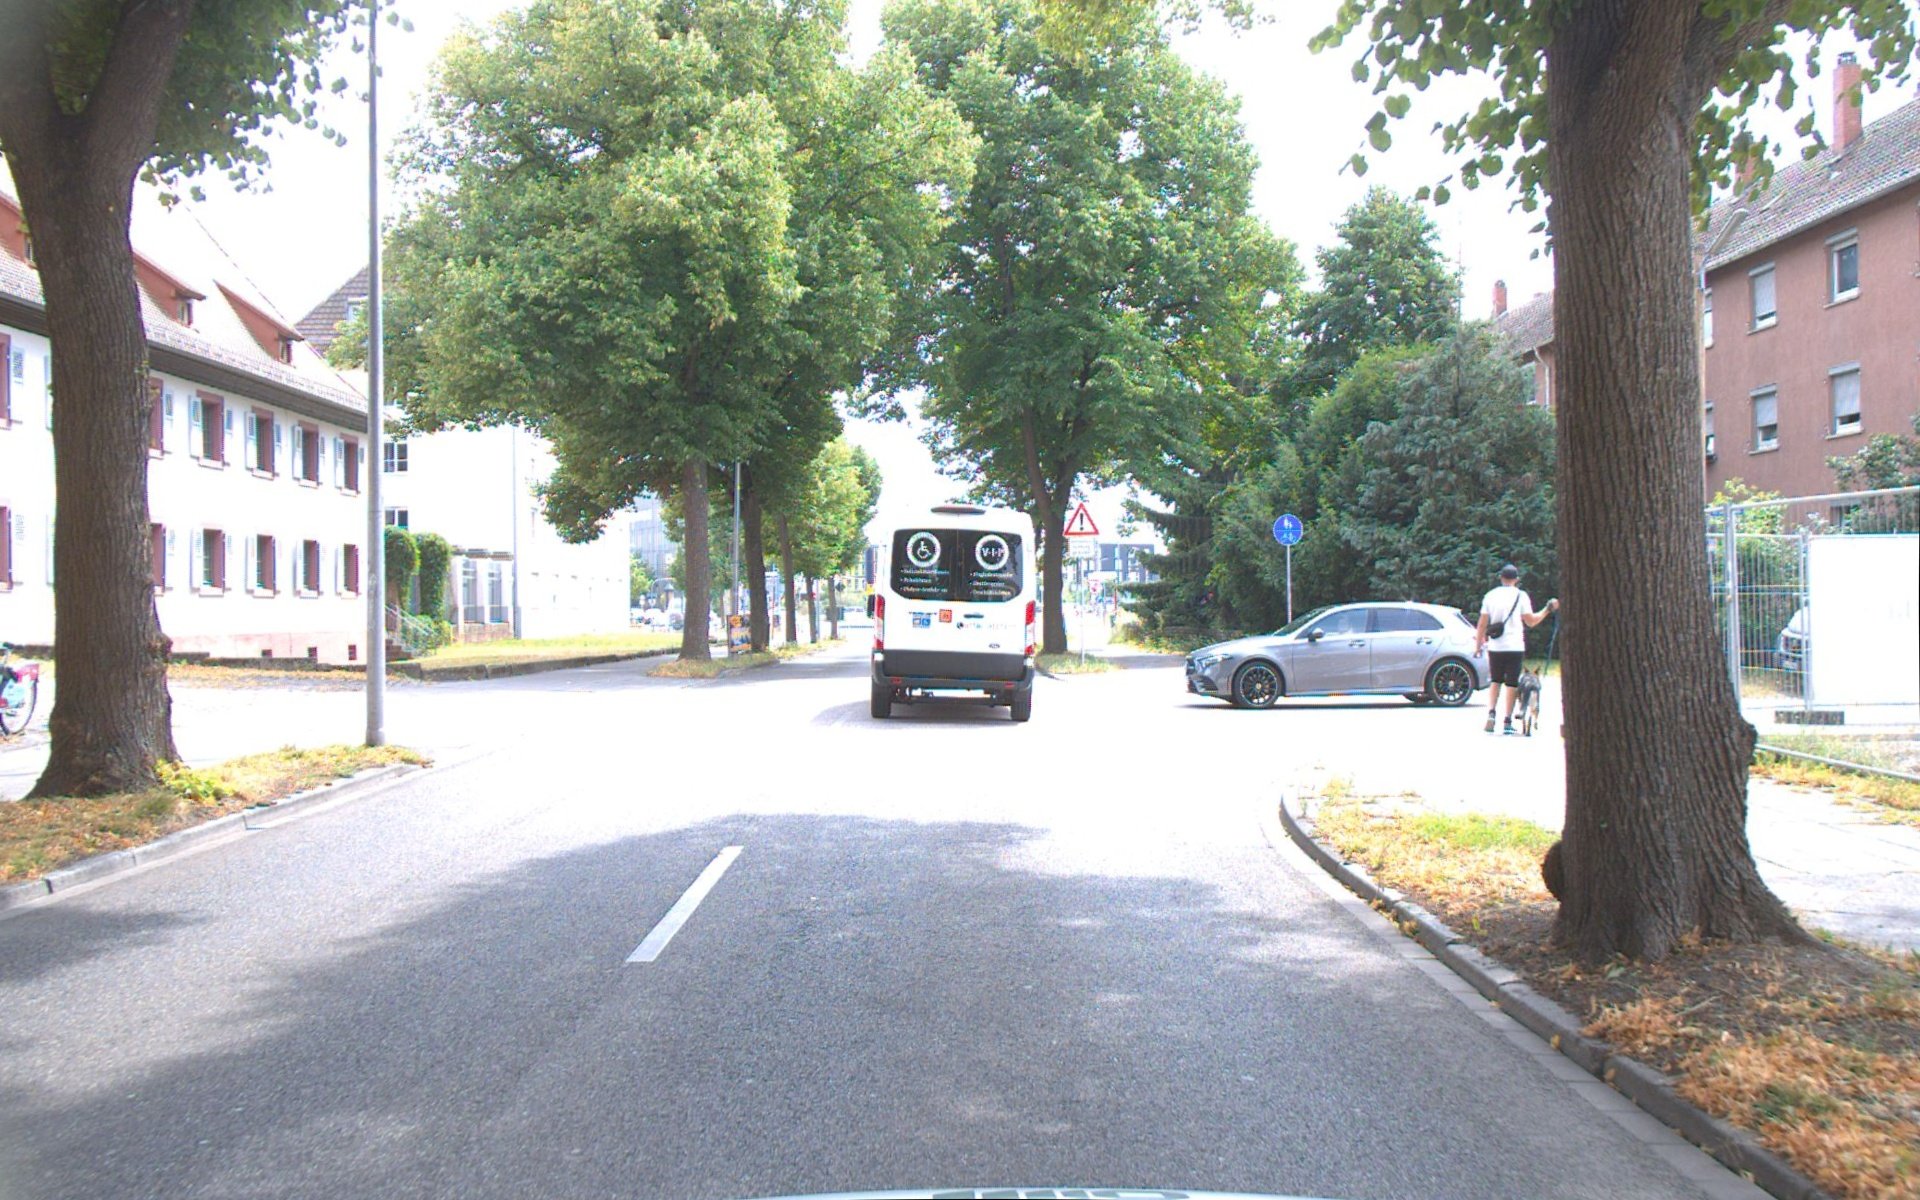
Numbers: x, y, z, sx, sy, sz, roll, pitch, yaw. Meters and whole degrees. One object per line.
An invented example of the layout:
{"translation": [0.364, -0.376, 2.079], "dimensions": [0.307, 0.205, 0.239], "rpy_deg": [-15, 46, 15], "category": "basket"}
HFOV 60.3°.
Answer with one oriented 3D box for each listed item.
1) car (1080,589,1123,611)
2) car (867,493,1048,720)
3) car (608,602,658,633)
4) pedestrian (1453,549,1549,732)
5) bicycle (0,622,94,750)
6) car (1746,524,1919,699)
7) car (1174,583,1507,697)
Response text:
{"translation": [13.461, -0.006, 157.026], "dimensions": [1.974, 1.848, 4.394], "rpy_deg": [-3, 0, 37], "category": "car"}
{"translation": [-0.135, 0.123, 21.147], "dimensions": [2.022, 2.584, 3.996], "rpy_deg": [1, -1, -4], "category": "car"}
{"translation": [-32.816, 1.751, 165.857], "dimensions": [2.593, 2.901, 5.596], "rpy_deg": [-2, 0, -38], "category": "car"}
{"translation": [5.674, 0.413, 17.360], "dimensions": [0.864, 1.846, 0.889], "rpy_deg": [-2, 0, 18], "category": "pedestrian"}
{"translation": [-9.264, 0.811, 15.874], "dimensions": [0.708, 1.114, 2.225], "rpy_deg": [3, 0, -1], "category": "bicycle"}
{"translation": [15.916, 0.102, 26.693], "dimensions": [5.359, 2.678, 2.336], "rpy_deg": [-1, 2, 1], "category": "car"}
{"translation": [5.343, 0.586, 23.683], "dimensions": [4.281, 1.468, 2.011], "rpy_deg": [-1, -2, 1], "category": "car"}
